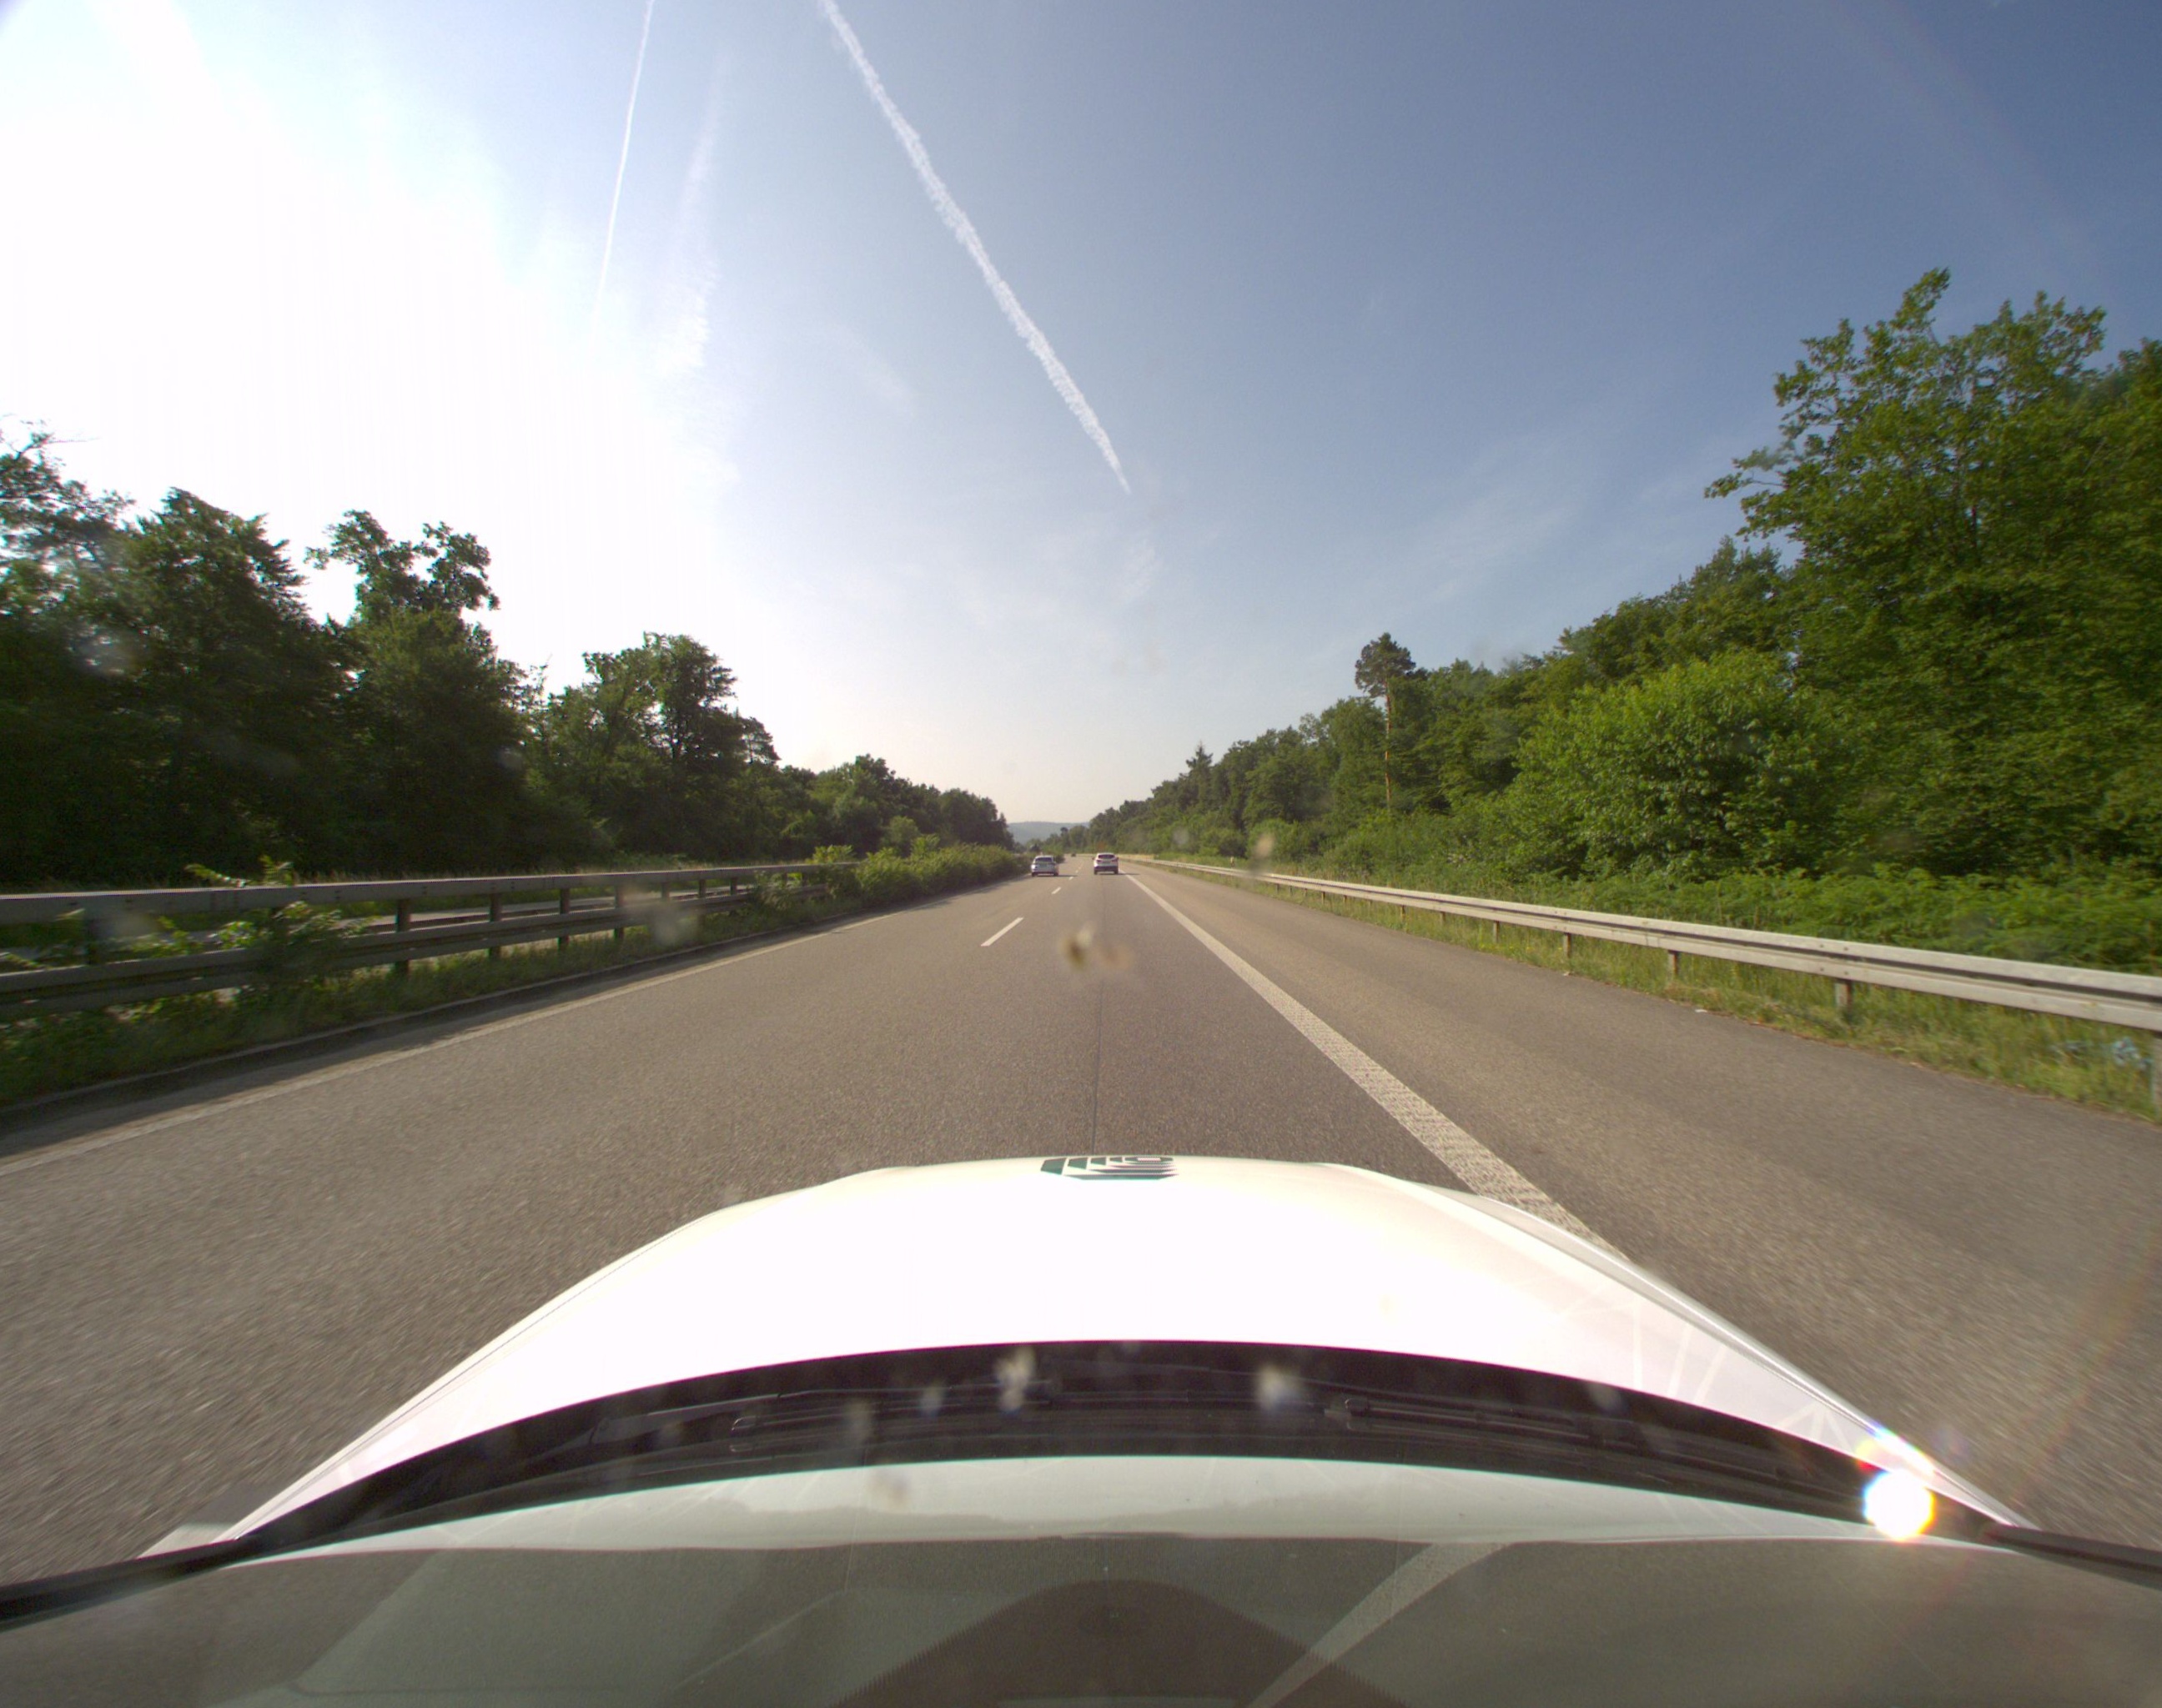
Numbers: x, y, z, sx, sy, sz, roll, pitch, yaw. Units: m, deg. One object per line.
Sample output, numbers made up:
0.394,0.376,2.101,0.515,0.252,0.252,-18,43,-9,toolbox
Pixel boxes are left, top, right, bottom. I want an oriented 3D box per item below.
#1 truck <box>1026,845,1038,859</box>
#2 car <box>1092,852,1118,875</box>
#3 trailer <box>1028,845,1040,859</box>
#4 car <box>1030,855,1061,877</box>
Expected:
-14.142,-0.511,237.092,2.775,3.998,8.416,-1,0,0,truck
1.771,0.696,61.082,1.867,1.586,4.000,1,0,0,car
-14.105,-0.536,243.928,2.822,3.998,11.433,-1,0,0,trailer
-2.471,0.842,58.060,1.785,1.438,5.281,-1,0,2,car
